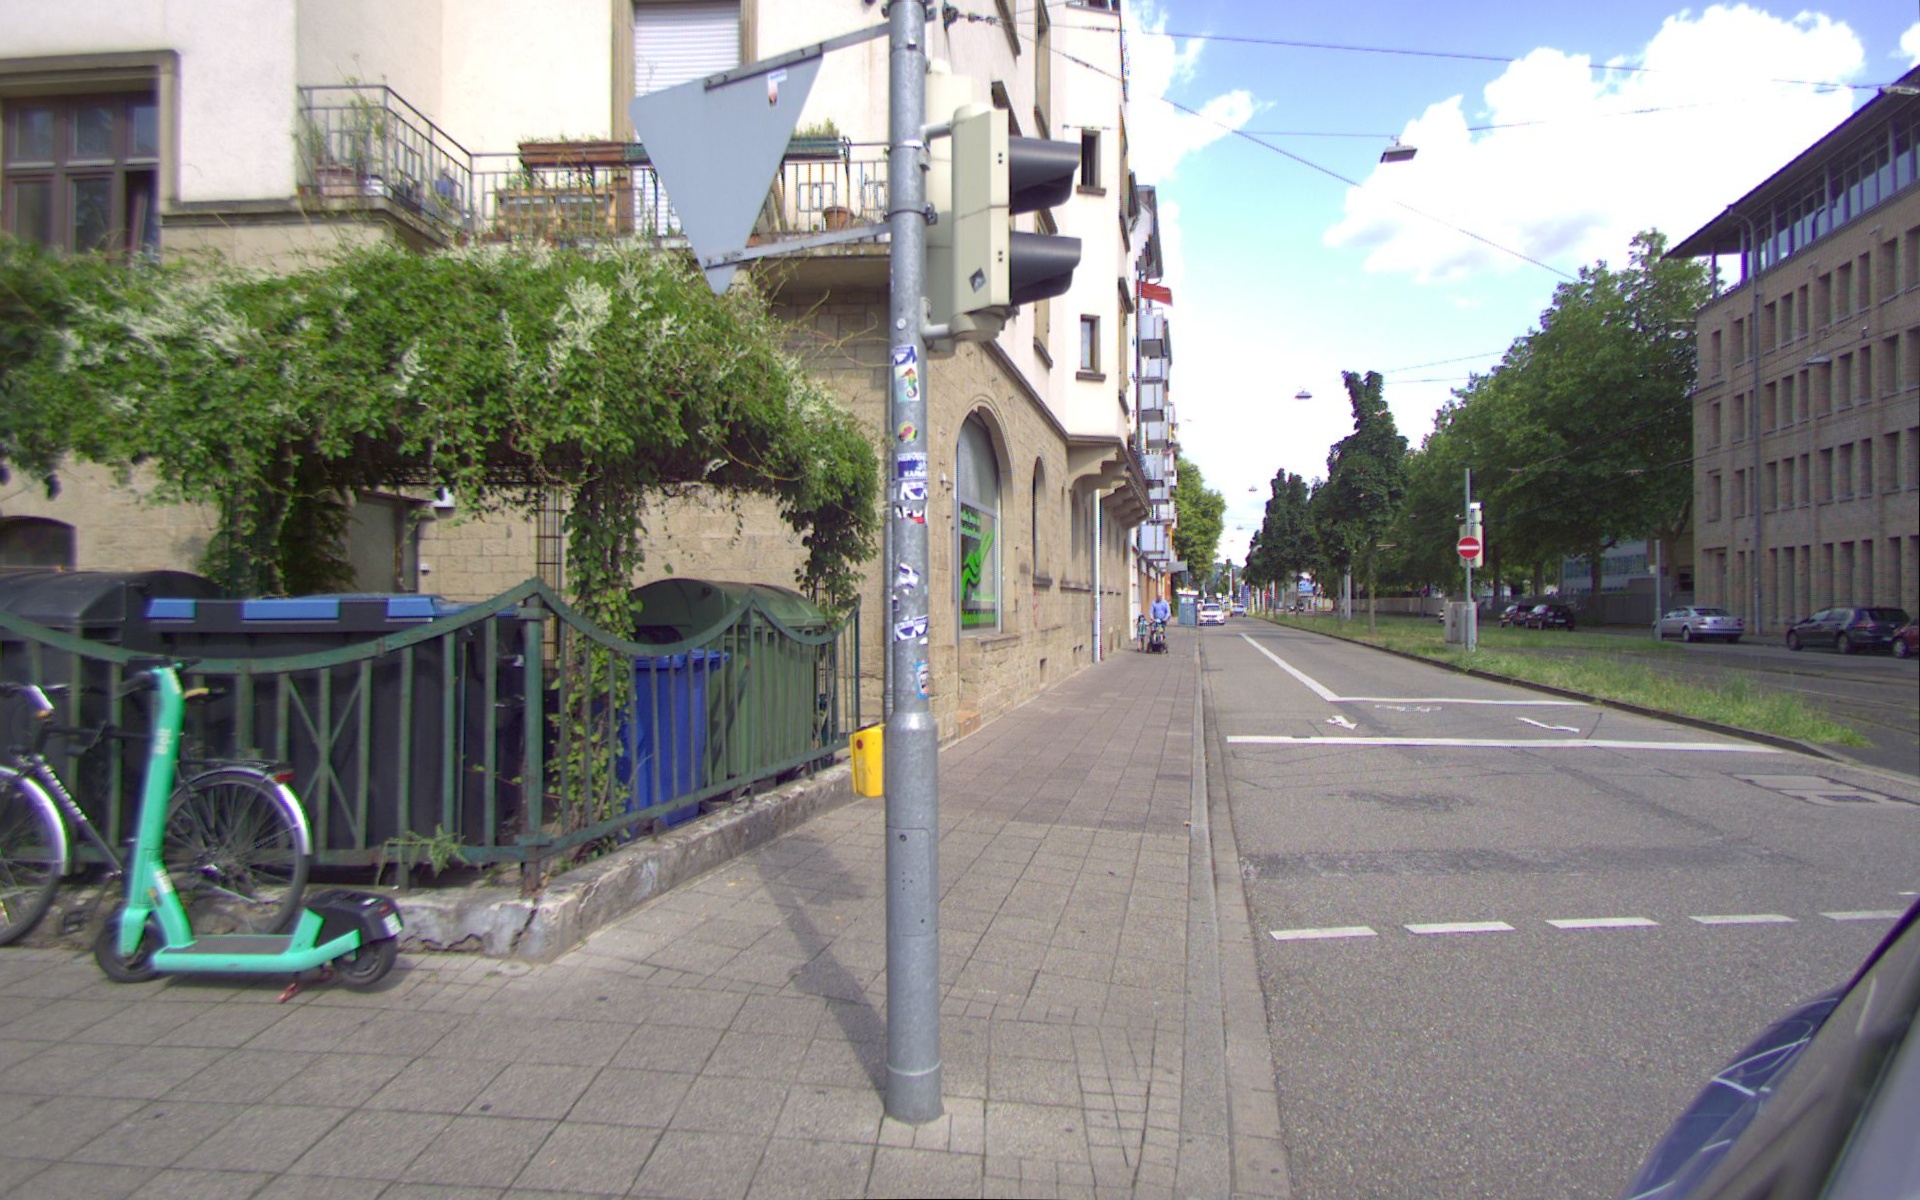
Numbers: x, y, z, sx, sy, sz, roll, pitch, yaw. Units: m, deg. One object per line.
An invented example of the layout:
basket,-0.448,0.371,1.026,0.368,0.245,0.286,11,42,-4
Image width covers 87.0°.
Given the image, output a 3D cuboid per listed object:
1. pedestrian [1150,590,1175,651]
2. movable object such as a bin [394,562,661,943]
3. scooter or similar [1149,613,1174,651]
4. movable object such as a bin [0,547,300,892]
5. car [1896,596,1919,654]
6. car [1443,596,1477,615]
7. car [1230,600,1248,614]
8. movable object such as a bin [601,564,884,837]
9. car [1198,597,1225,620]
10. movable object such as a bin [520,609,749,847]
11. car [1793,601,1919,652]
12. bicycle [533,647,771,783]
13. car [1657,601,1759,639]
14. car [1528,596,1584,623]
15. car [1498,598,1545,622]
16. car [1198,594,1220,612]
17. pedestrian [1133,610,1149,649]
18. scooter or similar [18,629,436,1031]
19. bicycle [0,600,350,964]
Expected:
pedestrian,6.053,0.591,30.191,0.614,1.760,0.873,2,0,15
movable object such as a bin,-1.865,0.595,4.507,0.704,1.490,0.981,0,0,5
scooter or similar,5.869,0.920,29.448,0.586,1.014,0.901,4,1,15
movable object such as a bin,-4.511,0.483,4.863,2.064,1.431,1.051,1,0,8
car,26.285,0.670,26.161,1.565,1.550,3.532,0,0,15
car,38.401,0.411,77.800,1.580,1.482,3.980,0,0,15
car,31.606,0.779,114.530,1.775,1.549,4.024,-1,0,14
movable object such as a bin,-1.375,0.566,6.954,1.039,1.559,2.089,0,0,16
car,17.761,0.577,71.650,1.775,1.549,4.024,-1,0,14
movable object such as a bin,-1.788,0.656,5.617,1.017,1.189,0.656,0,0,17
car,27.157,0.728,30.206,1.911,1.414,4.219,0,0,15
bicycle,-2.500,0.915,8.271,1.815,1.013,0.510,1,0,7
car,29.472,0.731,40.056,1.696,1.414,4.463,0,0,15
car,33.593,0.518,57.134,1.784,1.471,3.978,0,0,17
car,34.566,0.591,62.363,1.536,1.444,3.885,0,0,14
car,21.389,0.250,87.163,1.775,1.549,4.024,-1,0,14
pedestrian,5.394,0.885,30.137,0.451,1.149,0.492,0,-1,15
scooter or similar,-2.507,0.733,3.503,1.178,1.232,0.462,0,0,8
bicycle,-3.362,0.680,4.000,1.801,1.346,0.277,1,0,5
